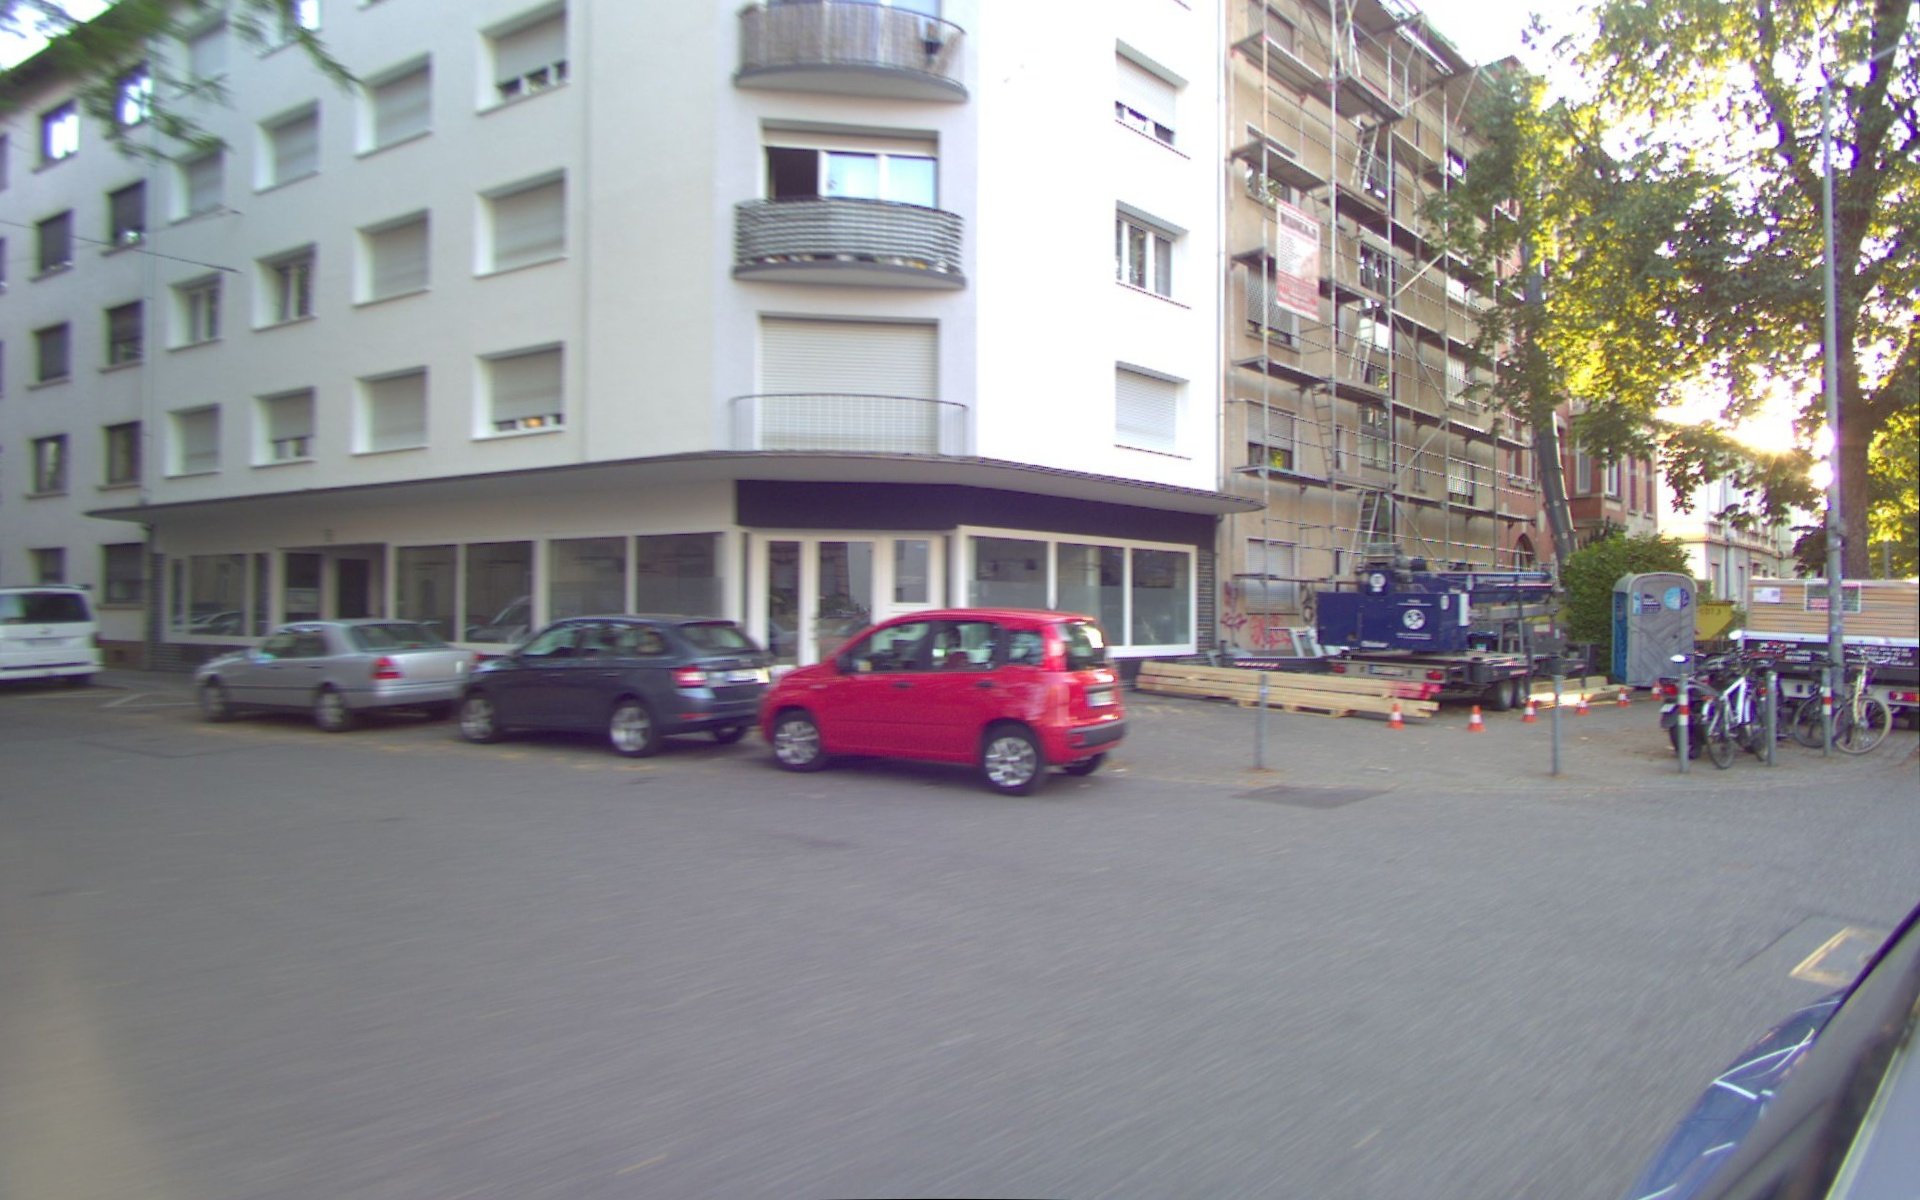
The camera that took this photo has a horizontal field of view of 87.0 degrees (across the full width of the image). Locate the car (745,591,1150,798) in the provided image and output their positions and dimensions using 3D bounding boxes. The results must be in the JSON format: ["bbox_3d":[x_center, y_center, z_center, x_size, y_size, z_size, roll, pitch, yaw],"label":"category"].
[{"bbox_3d":[-0.147,0.751,9.480,3.448,1.593,1.609,1,-2,30],"label":"car"}]

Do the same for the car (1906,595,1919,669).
[{"bbox_3d":[27.765,0.934,28.088,4.535,1.967,1.841,2,1,-43],"label":"car"}]

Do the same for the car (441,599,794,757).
[{"bbox_3d":[-3.918,0.809,11.480,3.861,1.527,1.610,-1,-2,28],"label":"car"}]

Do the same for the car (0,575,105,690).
[{"bbox_3d":[-18.675,0.603,19.416,4.430,2.044,1.891,-1,-1,26],"label":"car"}]

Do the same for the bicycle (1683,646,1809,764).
[{"bbox_3d":[8.441,1.083,10.836,2.113,1.123,0.407,1,1,-34],"label":"bicycle"}]

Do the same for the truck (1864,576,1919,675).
[{"bbox_3d":[24.035,0.659,24.971,4.562,2.274,1.958,2,1,-41],"label":"truck"}]

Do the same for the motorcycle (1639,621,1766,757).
[{"bbox_3d":[8.337,0.946,11.332,2.022,1.373,0.504,0,1,-35],"label":"motorcycle"}]

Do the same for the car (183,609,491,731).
[{"bbox_3d":[-8.593,0.882,13.912,4.192,1.447,1.642,-1,0,26],"label":"car"}]

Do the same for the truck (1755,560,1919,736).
[{"bbox_3d":[14.321,0.626,15.914,6.664,2.273,1.978,0,0,-44],"label":"truck"}]

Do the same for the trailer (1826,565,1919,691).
[{"bbox_3d":[19.404,0.557,20.686,4.564,2.324,1.957,1,1,-42],"label":"trailer"}]

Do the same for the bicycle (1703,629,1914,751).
[{"bbox_3d":[10.229,1.041,12.271,1.903,1.274,0.400,3,1,44],"label":"bicycle"}]
